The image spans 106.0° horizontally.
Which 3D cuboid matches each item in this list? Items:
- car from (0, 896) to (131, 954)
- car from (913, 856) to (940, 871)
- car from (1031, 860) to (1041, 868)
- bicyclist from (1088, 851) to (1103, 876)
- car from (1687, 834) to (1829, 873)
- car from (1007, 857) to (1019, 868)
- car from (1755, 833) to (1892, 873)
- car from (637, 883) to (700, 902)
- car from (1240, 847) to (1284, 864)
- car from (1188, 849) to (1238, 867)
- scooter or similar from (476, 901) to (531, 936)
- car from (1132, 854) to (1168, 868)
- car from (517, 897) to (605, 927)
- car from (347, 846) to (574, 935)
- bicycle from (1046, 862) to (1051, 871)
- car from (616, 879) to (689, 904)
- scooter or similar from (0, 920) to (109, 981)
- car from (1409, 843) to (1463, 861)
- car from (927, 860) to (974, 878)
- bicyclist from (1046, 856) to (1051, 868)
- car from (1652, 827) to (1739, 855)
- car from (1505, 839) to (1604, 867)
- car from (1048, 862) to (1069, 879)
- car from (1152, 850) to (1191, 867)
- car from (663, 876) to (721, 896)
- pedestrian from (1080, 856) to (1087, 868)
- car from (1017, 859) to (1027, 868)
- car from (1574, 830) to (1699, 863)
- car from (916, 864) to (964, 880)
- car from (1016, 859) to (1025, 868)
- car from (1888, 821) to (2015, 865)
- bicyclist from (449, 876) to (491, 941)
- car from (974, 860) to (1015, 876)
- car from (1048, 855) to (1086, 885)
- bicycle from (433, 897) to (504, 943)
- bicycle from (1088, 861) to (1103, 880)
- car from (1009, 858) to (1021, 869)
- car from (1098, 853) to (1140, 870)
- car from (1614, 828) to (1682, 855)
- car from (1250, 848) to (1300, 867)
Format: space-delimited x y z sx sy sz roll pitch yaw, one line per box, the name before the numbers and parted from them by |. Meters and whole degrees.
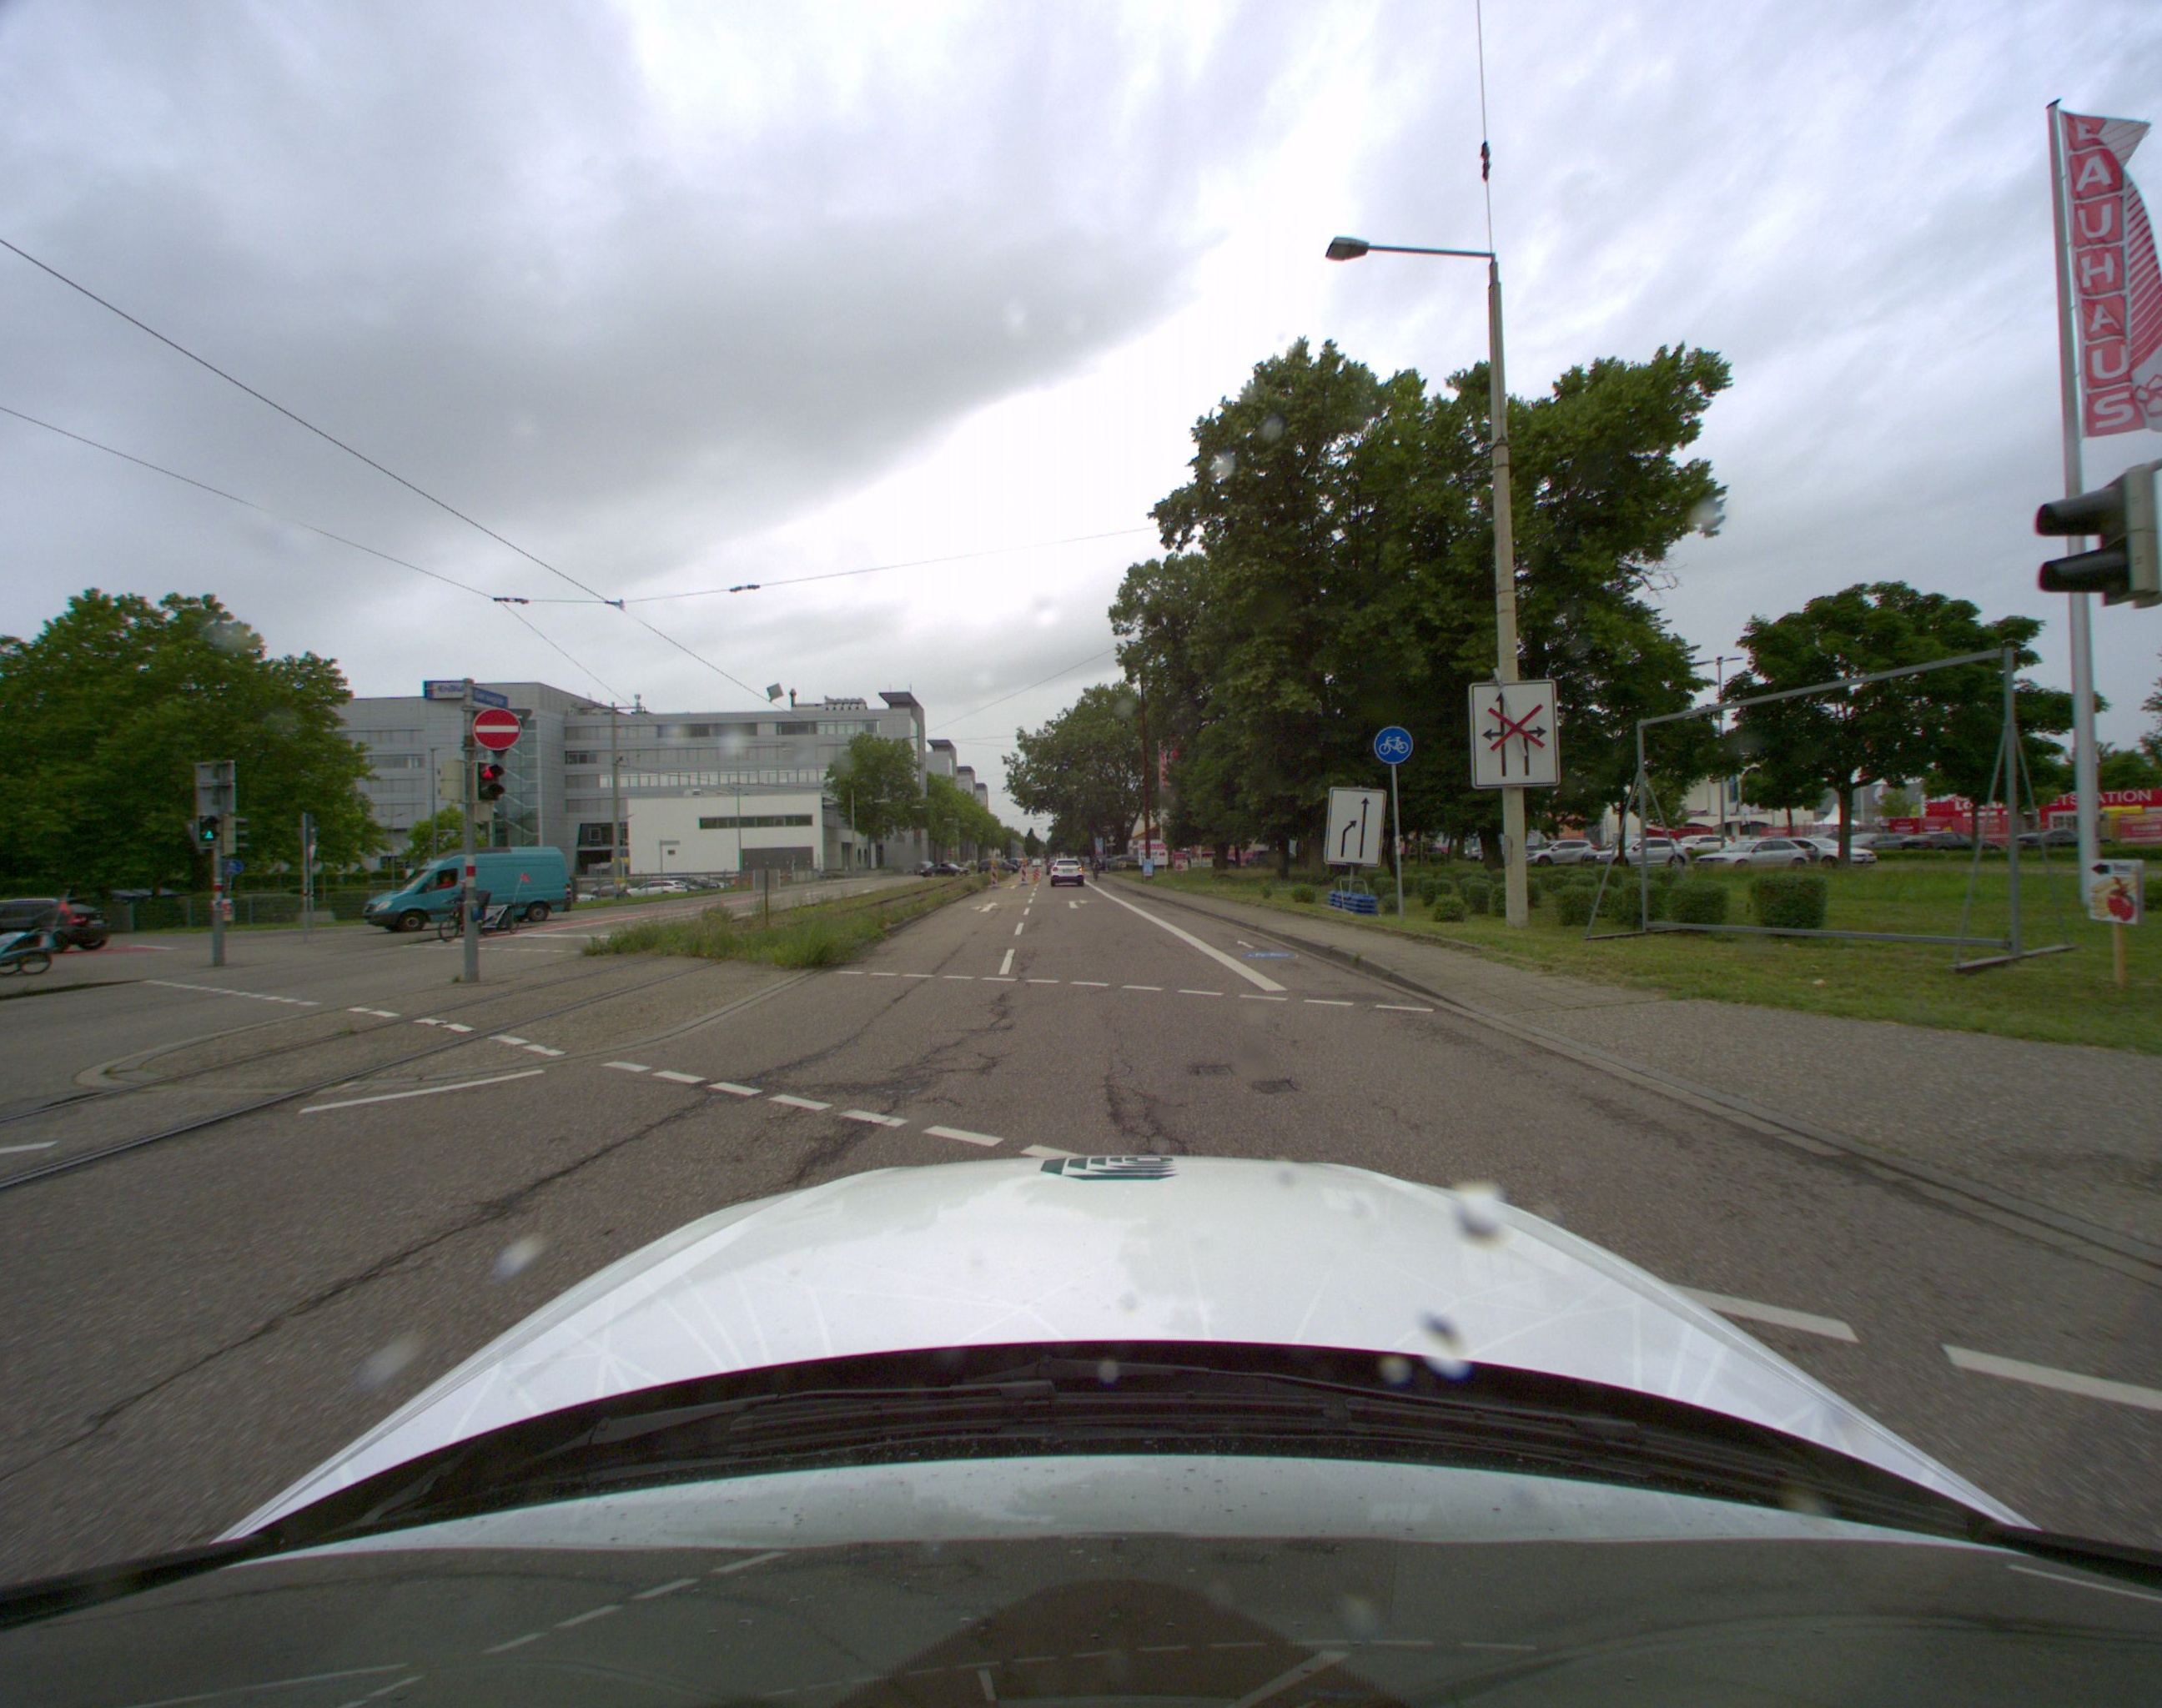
car | -30.464 2.088 24.035 3.629 1.528 1.782 -2 -1 16
car | -20.548 1.249 108.092 1.834 1.783 4.377 -2 -1 -37
car | -8.491 1.834 154.596 1.793 1.513 3.699 0 0 -5
bicyclist | 0.959 0.621 54.317 0.814 1.630 1.234 -2 -1 -3
car | 27.208 -0.008 32.796 4.440 1.497 1.926 0 -1 -7
car | -11.186 1.416 134.731 1.873 1.632 3.994 -2 0 -4
car | 32.999 -0.025 36.406 1.987 1.670 4.503 0 -1 -1
car | -33.133 3.104 65.500 3.981 1.314 1.909 -2 0 -6
car | 20.257 0.176 91.276 4.537 1.677 2.081 -2 0 0
car | 13.065 0.389 80.831 4.543 1.572 1.990 -2 0 -3
scooter or similar | -16.742 1.863 23.625 0.843 0.907 1.194 0 0 -9
car | 8.498 0.881 100.530 4.207 1.552 1.786 -2 -1 -6
car | -32.345 3.587 50.722 4.199 1.532 1.912 -2 0 -1
car | -21.958 1.174 29.161 2.306 2.826 5.987 -2 -1 33
bicycle | -4.904 1.871 122.400 0.670 1.394 2.163 0 0 -5
car | -32.827 2.863 62.460 4.520 1.634 1.909 -2 0 -6
scooter or similar | -21.254 1.956 16.774 0.640 1.062 1.457 0 0 22
car | 35.838 -0.213 82.314 4.543 1.572 2.071 -2 0 -3
car | -12.704 1.455 79.215 4.082 1.475 1.834 -4 -2 19
bicyclist | -4.915 1.214 122.460 0.670 1.815 0.758 0 0 -6
car | 42.285 -0.895 56.091 4.550 1.677 2.149 -2 0 -8
car | 26.092 -0.037 44.945 4.526 1.497 1.955 0 -1 -7
car | -2.133 1.472 74.970 1.682 1.513 3.699 0 0 -5
car | 9.871 0.543 88.906 4.193 1.677 1.995 -2 -1 5
car | -32.894 2.707 68.959 3.981 1.485 1.909 -2 0 -6
pedestrian | 0.352 1.110 113.397 0.760 1.705 0.680 -2 0 -8
car | -12.600 2.023 174.099 1.873 1.763 3.994 -2 0 -4
car | 26.638 -0.338 39.174 4.666 1.497 2.167 0 -1 -5
car | -14.311 1.825 82.510 4.431 1.472 1.811 -2 -1 -23
car | -12.554 2.015 168.885 1.873 1.763 3.994 -2 0 -4
car | 44.172 -0.535 41.376 4.550 2.051 2.149 -2 -1 -8
bicyclist | -16.461 1.454 21.945 0.645 1.683 0.683 0 0 -9
car | -8.448 1.348 80.102 3.874 1.556 1.823 0 -1 -3
car | -0.798 0.849 44.930 1.821 1.600 3.768 0 0 -5
bicycle | -16.464 1.756 21.945 0.645 1.062 2.018 0 0 -9
bicycle | 0.978 1.074 54.315 0.814 1.212 2.680 -2 0 -2
car | -11.369 1.610 140.538 1.873 1.763 3.994 -2 0 -4
car | 4.056 0.780 87.896 4.303 1.677 1.991 -2 -1 -3
car | 58.832 -1.262 84.538 5.730 2.537 2.071 -2 -1 -3
car | 19.450 0.359 81.798 4.543 1.790 2.071 -2 0 -3
